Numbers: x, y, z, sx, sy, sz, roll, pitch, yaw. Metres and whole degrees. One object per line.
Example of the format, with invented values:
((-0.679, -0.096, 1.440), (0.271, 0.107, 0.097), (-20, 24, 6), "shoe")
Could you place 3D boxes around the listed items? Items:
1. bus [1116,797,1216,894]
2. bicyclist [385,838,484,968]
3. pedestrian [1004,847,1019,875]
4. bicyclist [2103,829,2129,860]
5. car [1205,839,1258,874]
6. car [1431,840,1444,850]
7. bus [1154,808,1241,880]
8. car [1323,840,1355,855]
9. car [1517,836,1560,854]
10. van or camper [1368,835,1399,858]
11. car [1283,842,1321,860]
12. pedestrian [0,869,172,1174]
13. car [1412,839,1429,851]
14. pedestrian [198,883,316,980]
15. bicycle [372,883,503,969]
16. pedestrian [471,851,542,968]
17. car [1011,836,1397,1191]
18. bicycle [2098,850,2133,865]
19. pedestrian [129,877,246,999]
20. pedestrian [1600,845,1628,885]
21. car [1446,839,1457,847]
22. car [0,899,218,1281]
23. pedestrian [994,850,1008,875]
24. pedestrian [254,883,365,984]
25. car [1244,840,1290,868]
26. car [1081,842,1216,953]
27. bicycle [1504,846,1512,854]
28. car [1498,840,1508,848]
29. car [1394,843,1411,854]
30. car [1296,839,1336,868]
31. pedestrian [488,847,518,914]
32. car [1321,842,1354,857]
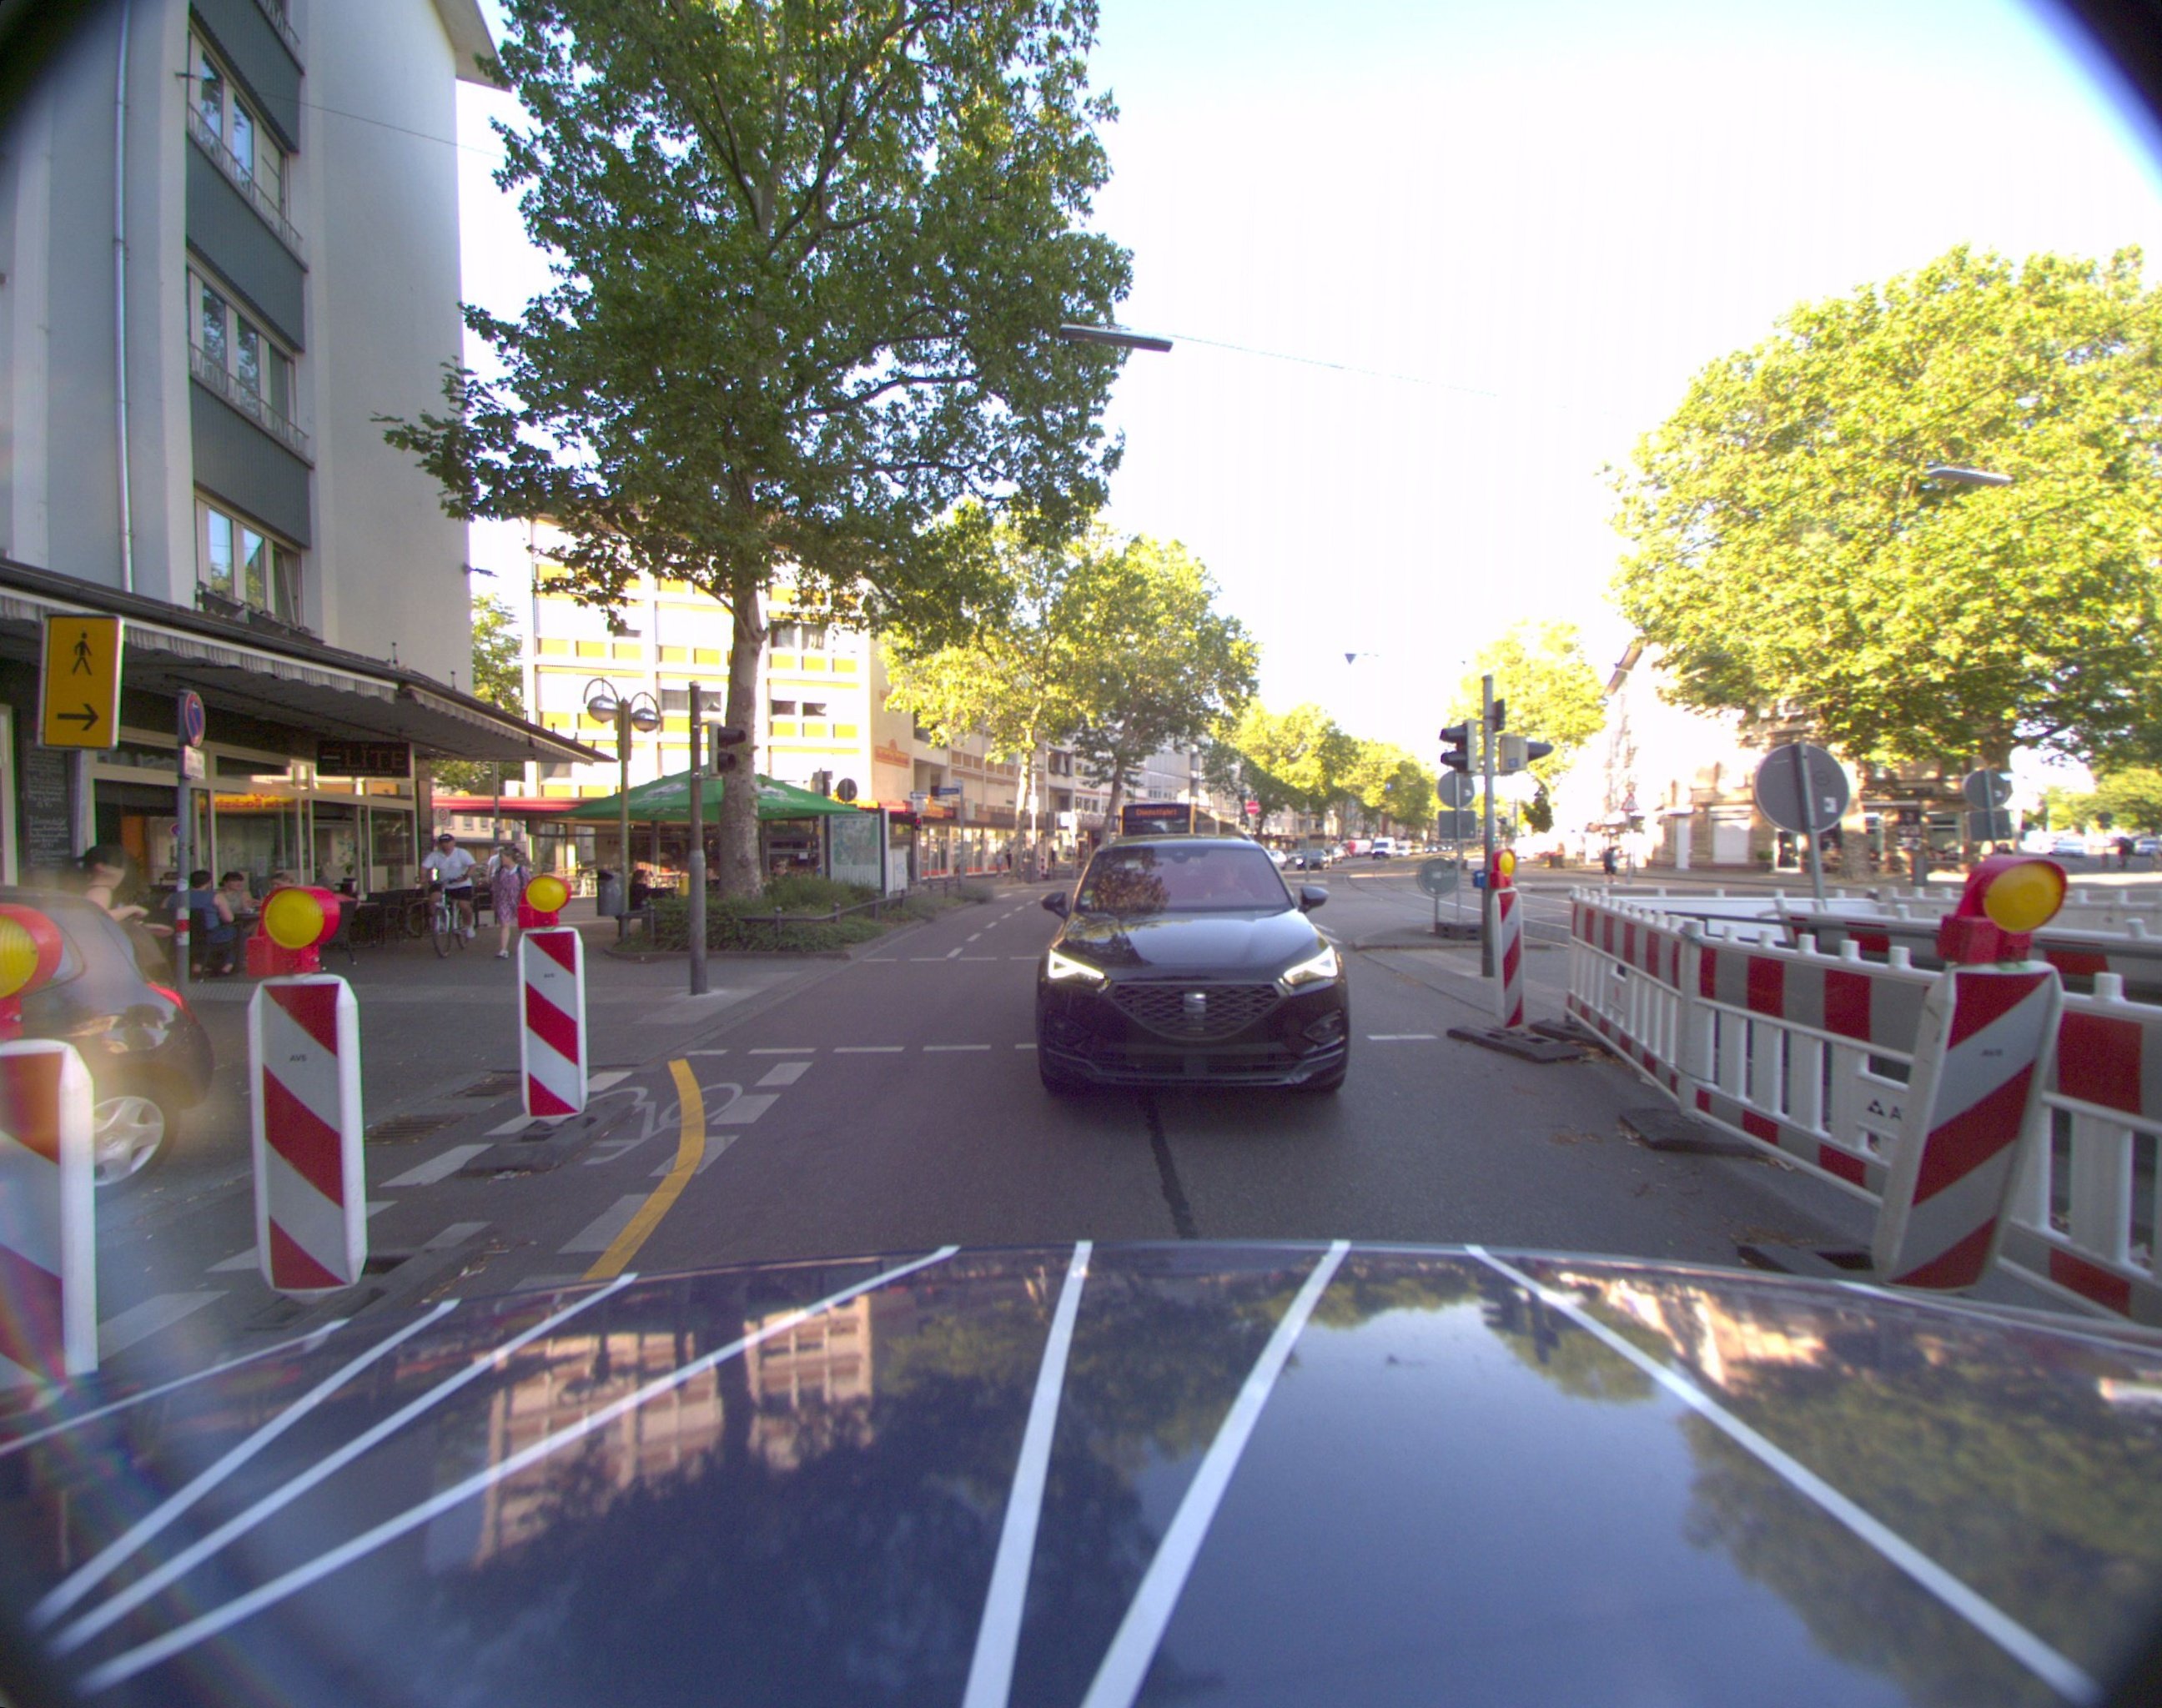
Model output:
((3.465, -0.314, 28.659), (2.718, 3.088, 8.629), (0, 1, 13), "bus")
((-9.438, 0.674, 11.133), (0.754, 1.816, 0.924), (0, 2, -16), "bicyclist")
((-3.946, 0.406, 43.056), (0.627, 1.577, 0.532), (0, 1, 20), "pedestrian")
((56.780, -0.528, 41.682), (0.766, 1.718, 0.672), (-1, 1, -23), "bicyclist")
((9.242, 0.109, 46.416), (1.995, 2.002, 4.105), (0, 1, 29), "car")
((66.303, -1.691, 141.334), (1.836, 1.792, 4.138), (0, 1, 31), "car")
((5.906, -0.462, 37.092), (2.717, 3.088, 8.608), (0, 1, 19), "bus")
((36.567, -0.916, 107.942), (3.994, 2.002, 2.001), (-1, 1, 8), "car")
((52.495, -1.009, 87.203), (4.001, 2.002, 1.997), (-1, 1, -13), "car")
((36.865, -0.970, 92.467), (2.420, 2.702, 6.144), (0, 1, 32), "van or camper")
((24.856, -0.382, 85.369), (3.991, 2.002, 2.003), (0, 1, 18), "car")
((-6.221, 0.927, 4.521), (0.583, 1.637, 0.796), (-1, 2, -1), "pedestrian")
((53.303, -1.436, 119.277), (1.836, 1.792, 4.138), (0, 1, 31), "car")
((-10.765, 0.992, 9.952), (0.647, 1.186, 0.792), (0, 1, 7), "pedestrian")
((-9.492, 1.023, 11.313), (0.752, 1.123, 1.884), (2, -1, -16), "bicycle")
((-8.290, 0.779, 10.989), (0.629, 1.628, 0.531), (-1, 1, -15), "pedestrian")
((0.621, 0.751, 5.643), (1.841, 1.696, 4.000), (-1, 1, 1), "car")
((56.764, 0.198, 41.683), (1.993, 0.777, 0.680), (-1, 1, -23), "bicycle")
((-10.346, 0.938, 8.806), (0.789, 1.299, 0.701), (0, 1, 28), "pedestrian")
((20.344, 0.411, 29.011), (0.603, 1.524, 0.745), (0, 1, 12), "pedestrian")
((85.233, -2.525, 174.801), (1.836, 1.792, 4.138), (0, 1, 31), "car")
((-5.198, 0.975, 2.001), (1.771, 1.459, 3.610), (2, 1, -2), "car")
((-4.558, 0.478, 43.308), (0.627, 1.429, 0.532), (0, 1, 20), "pedestrian")
((-9.883, 0.989, 9.742), (0.877, 1.186, 0.701), (0, 1, 24), "pedestrian")
((13.571, -0.017, 55.315), (1.994, 2.002, 4.008), (0, 1, 33), "car")
((1.037, 0.627, 13.336), (1.998, 1.634, 4.075), (-1, 1, 1), "car")
((63.578, -0.629, 113.063), (0.850, 1.186, 2.470), (0, 1, 25), "bicycle")
((106.402, -2.618, 191.667), (1.994, 2.002, 4.007), (0, 1, 31), "car")
((44.750, -0.807, 105.748), (1.700, 1.462, 3.771), (0, 1, 31), "car")
((16.624, -0.047, 53.588), (1.995, 2.002, 4.007), (0, 1, 27), "car")
((-17.174, 0.767, 22.598), (0.650, 1.948, 0.887), (-1, 1, -36), "pedestrian")
((35.075, -0.630, 103.877), (3.994, 2.002, 2.001), (-1, 1, 8), "car")
